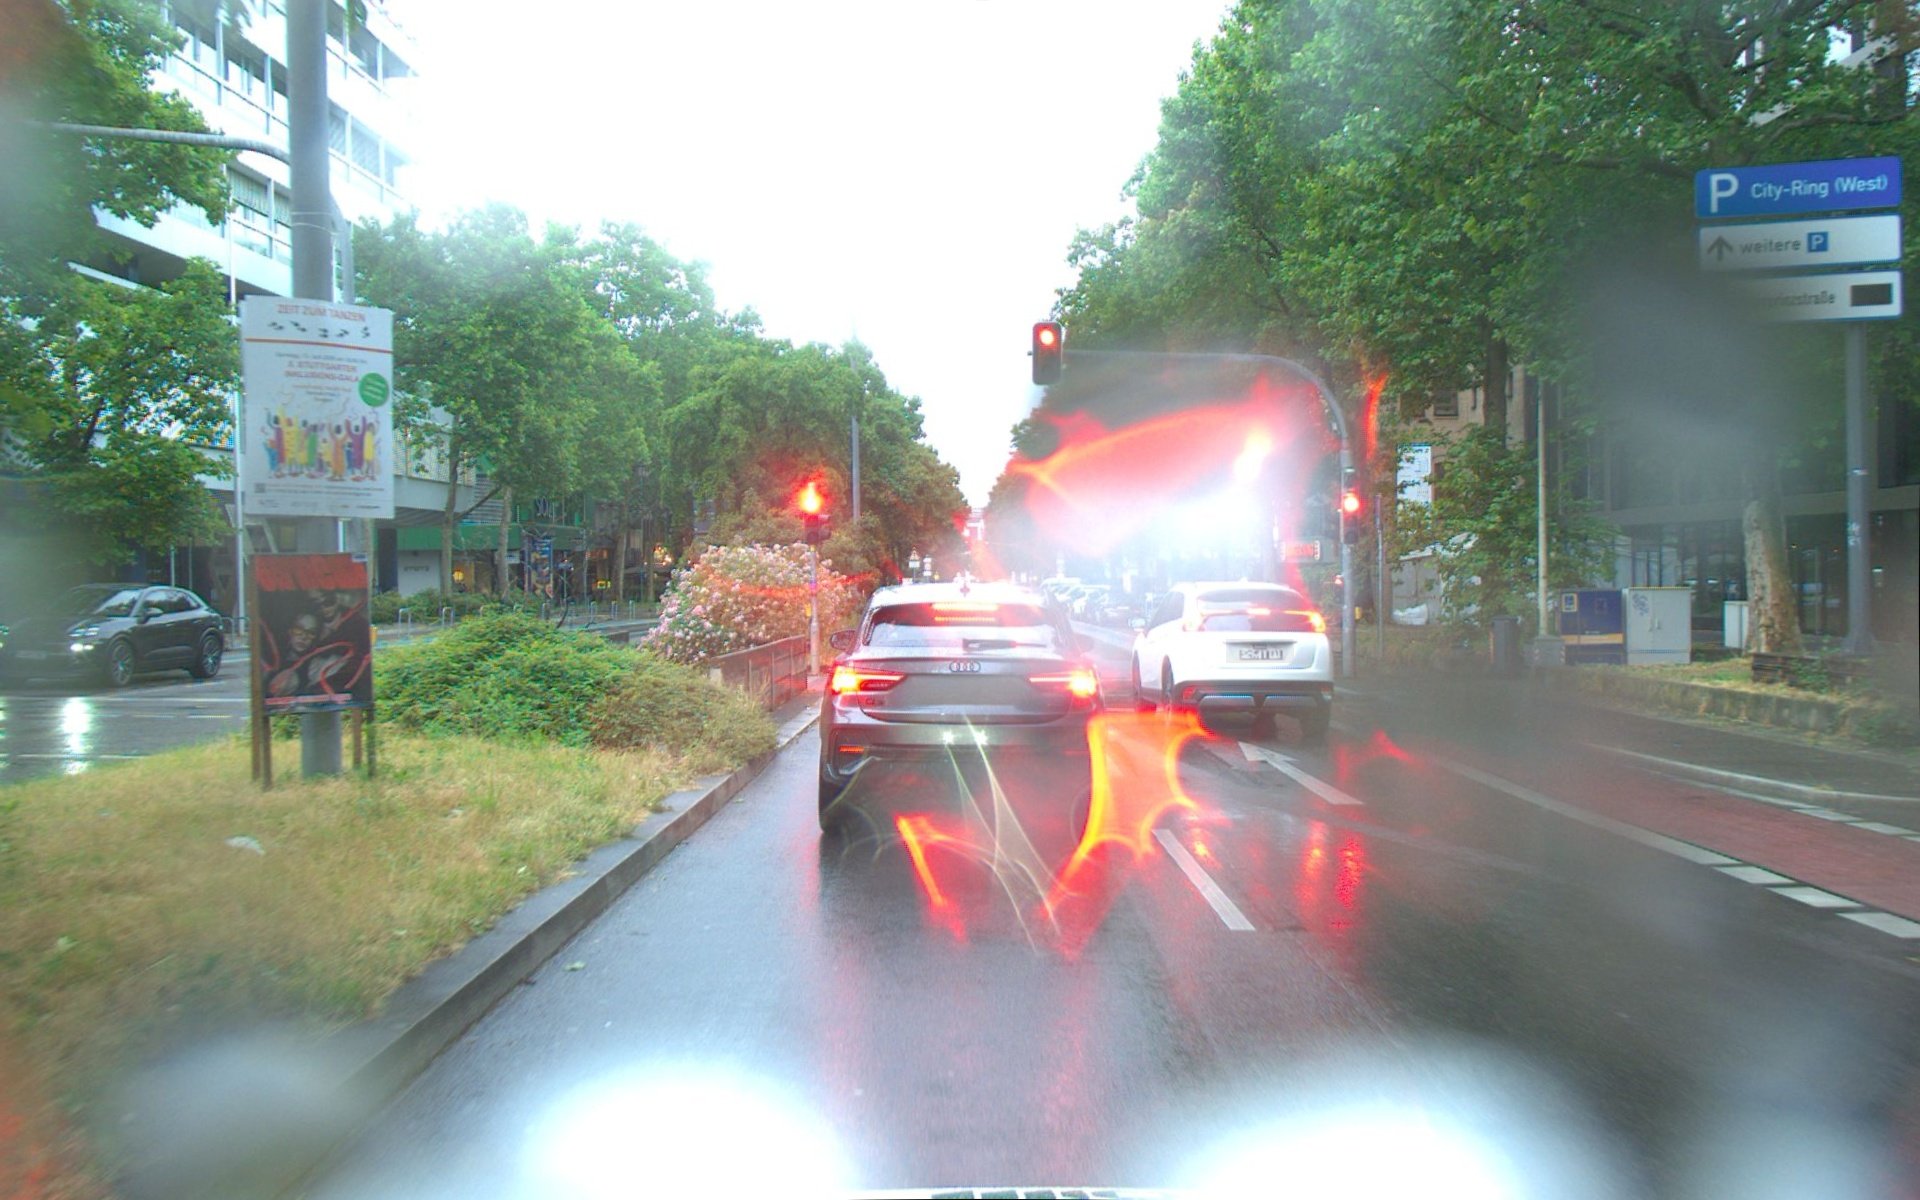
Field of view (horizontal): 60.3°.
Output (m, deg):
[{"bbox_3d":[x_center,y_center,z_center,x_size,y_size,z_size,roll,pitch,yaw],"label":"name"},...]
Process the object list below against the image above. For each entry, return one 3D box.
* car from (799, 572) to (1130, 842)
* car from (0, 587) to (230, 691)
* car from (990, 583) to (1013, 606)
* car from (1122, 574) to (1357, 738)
[{"bbox_3d":[0.023,0.577,11.416,1.879,1.517,4.000,0,1,0],"label":"car"},{"bbox_3d":[-14.048,0.585,27.600,1.792,1.579,4.190,0,0,1],"label":"car"},{"bbox_3d":[3.152,-0.426,126.311,1.587,1.695,4.000,-1,1,0],"label":"car"},{"bbox_3d":[3.139,0.542,19.605,1.953,1.684,4.889,0,1,0],"label":"car"}]
